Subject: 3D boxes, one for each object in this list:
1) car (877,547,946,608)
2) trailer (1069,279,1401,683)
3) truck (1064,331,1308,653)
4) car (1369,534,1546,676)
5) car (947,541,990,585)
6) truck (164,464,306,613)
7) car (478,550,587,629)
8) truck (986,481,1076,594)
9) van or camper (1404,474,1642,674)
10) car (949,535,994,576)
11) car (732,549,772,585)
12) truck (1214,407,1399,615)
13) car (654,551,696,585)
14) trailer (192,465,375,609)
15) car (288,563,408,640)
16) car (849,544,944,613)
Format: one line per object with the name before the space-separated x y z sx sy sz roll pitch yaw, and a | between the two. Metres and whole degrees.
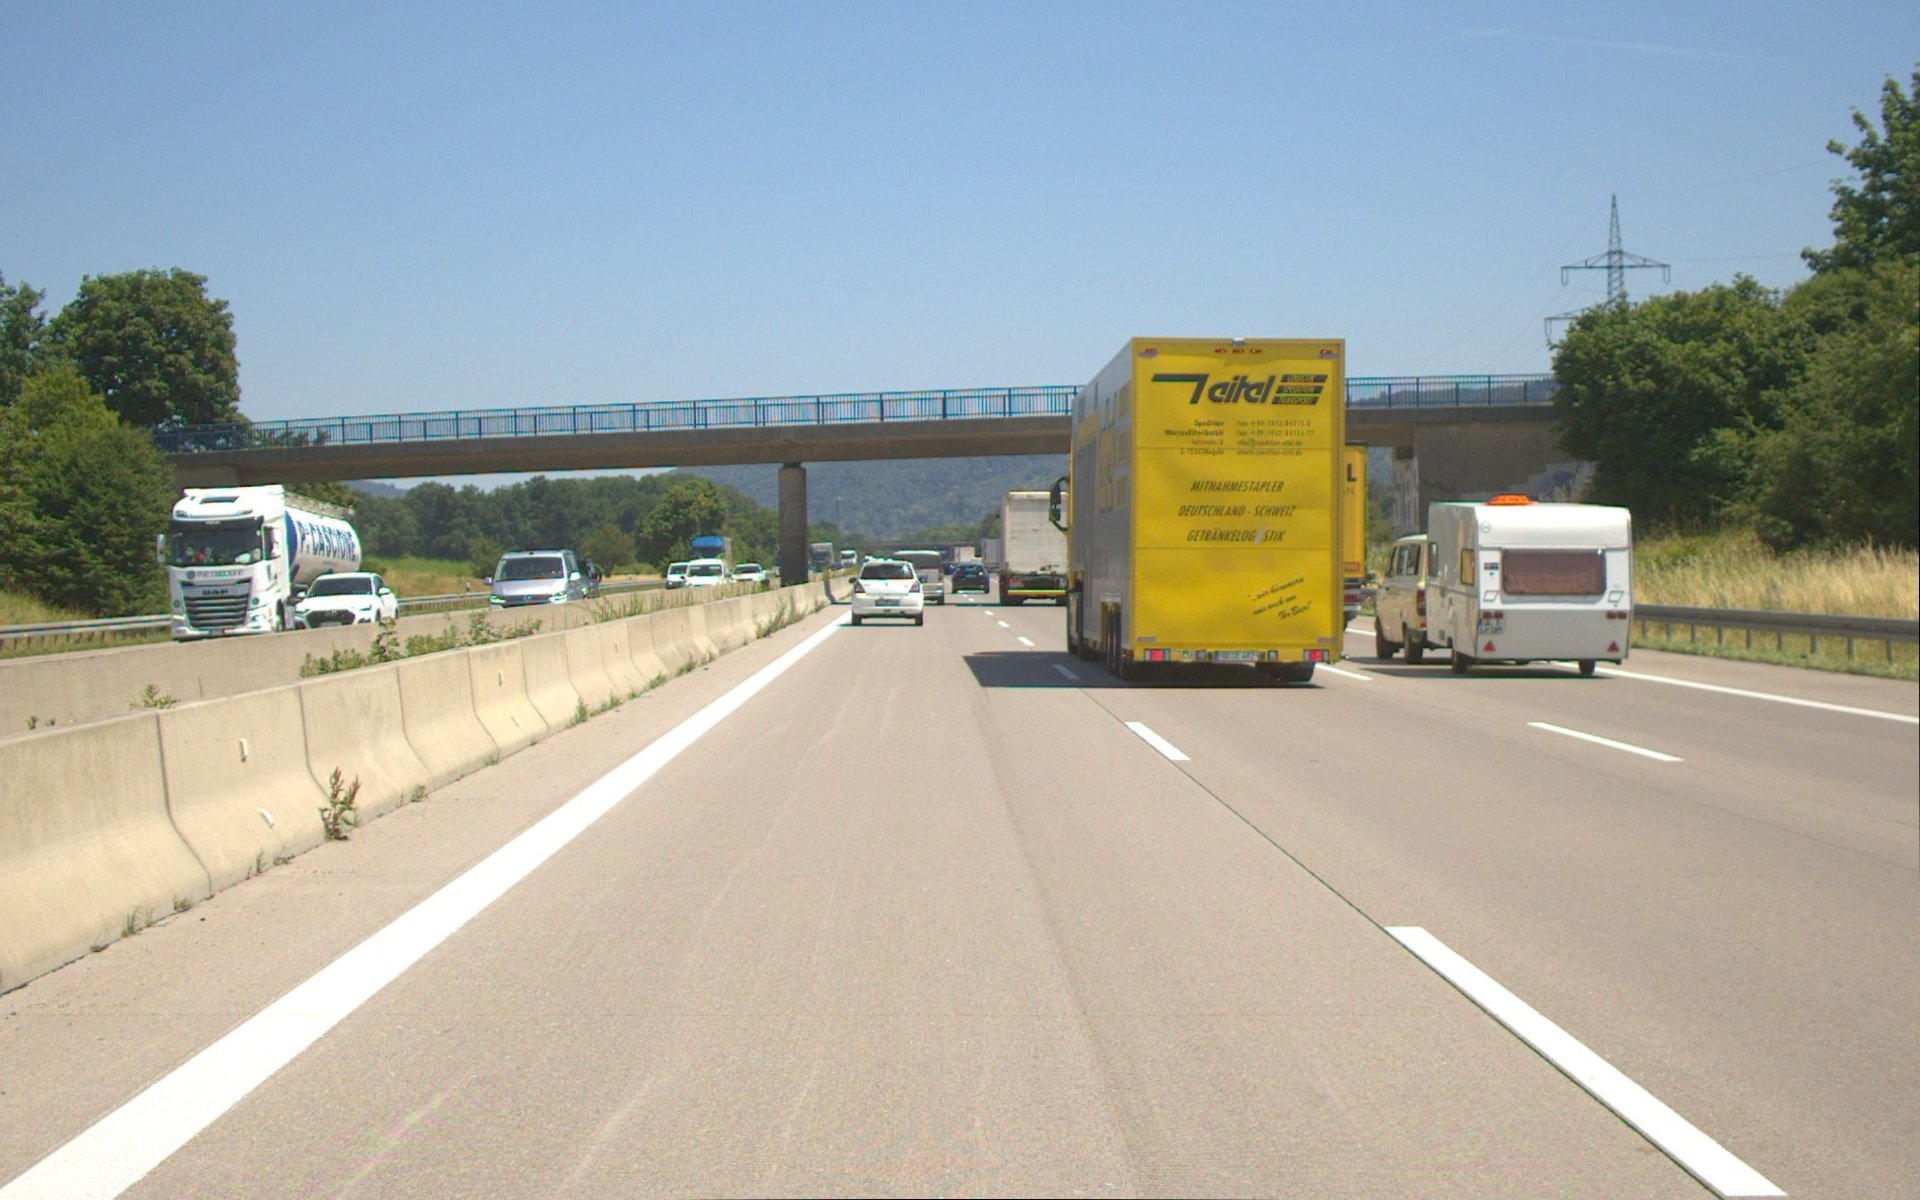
car | -1.652 -0.800 118.813 2.254 2.007 4.298 1 1 0
trailer | 3.336 -1.478 45.761 3.216 4.548 13.457 1 1 0
truck | 3.321 -1.600 52.068 3.216 4.548 5.836 1 1 0
car | 7.397 0.032 51.447 1.993 2.007 4.000 1 1 -1
car | 0.389 -1.779 163.703 1.993 2.007 4.000 1 1 -1
truck | -18.085 -1.537 85.987 2.601 3.576 4.720 1 1 -1
car | -10.185 -0.274 82.270 1.993 1.729 5.115 -2 1 -1
truck | 2.381 -2.150 117.998 2.820 3.748 6.284 1 1 -1
van or camper | 7.548 -0.384 46.666 2.224 2.522 5.431 1 1 -1
car | 0.558 -2.285 175.903 2.222 2.007 4.000 1 1 -1
car | -11.068 -1.760 182.824 1.866 1.833 4.789 -1 1 -1
truck | 7.563 -1.947 76.417 2.999 4.299 9.684 1 1 0
car | -15.663 -1.789 188.905 1.993 1.800 4.000 1 1 -1
trailer | -18.172 -1.714 93.260 2.573 3.618 12.857 1 1 -1
car | -14.024 0.020 78.967 1.923 1.606 4.686 -2 1 -1
car | -1.476 -0.530 81.175 2.107 1.530 4.122 1 1 1
